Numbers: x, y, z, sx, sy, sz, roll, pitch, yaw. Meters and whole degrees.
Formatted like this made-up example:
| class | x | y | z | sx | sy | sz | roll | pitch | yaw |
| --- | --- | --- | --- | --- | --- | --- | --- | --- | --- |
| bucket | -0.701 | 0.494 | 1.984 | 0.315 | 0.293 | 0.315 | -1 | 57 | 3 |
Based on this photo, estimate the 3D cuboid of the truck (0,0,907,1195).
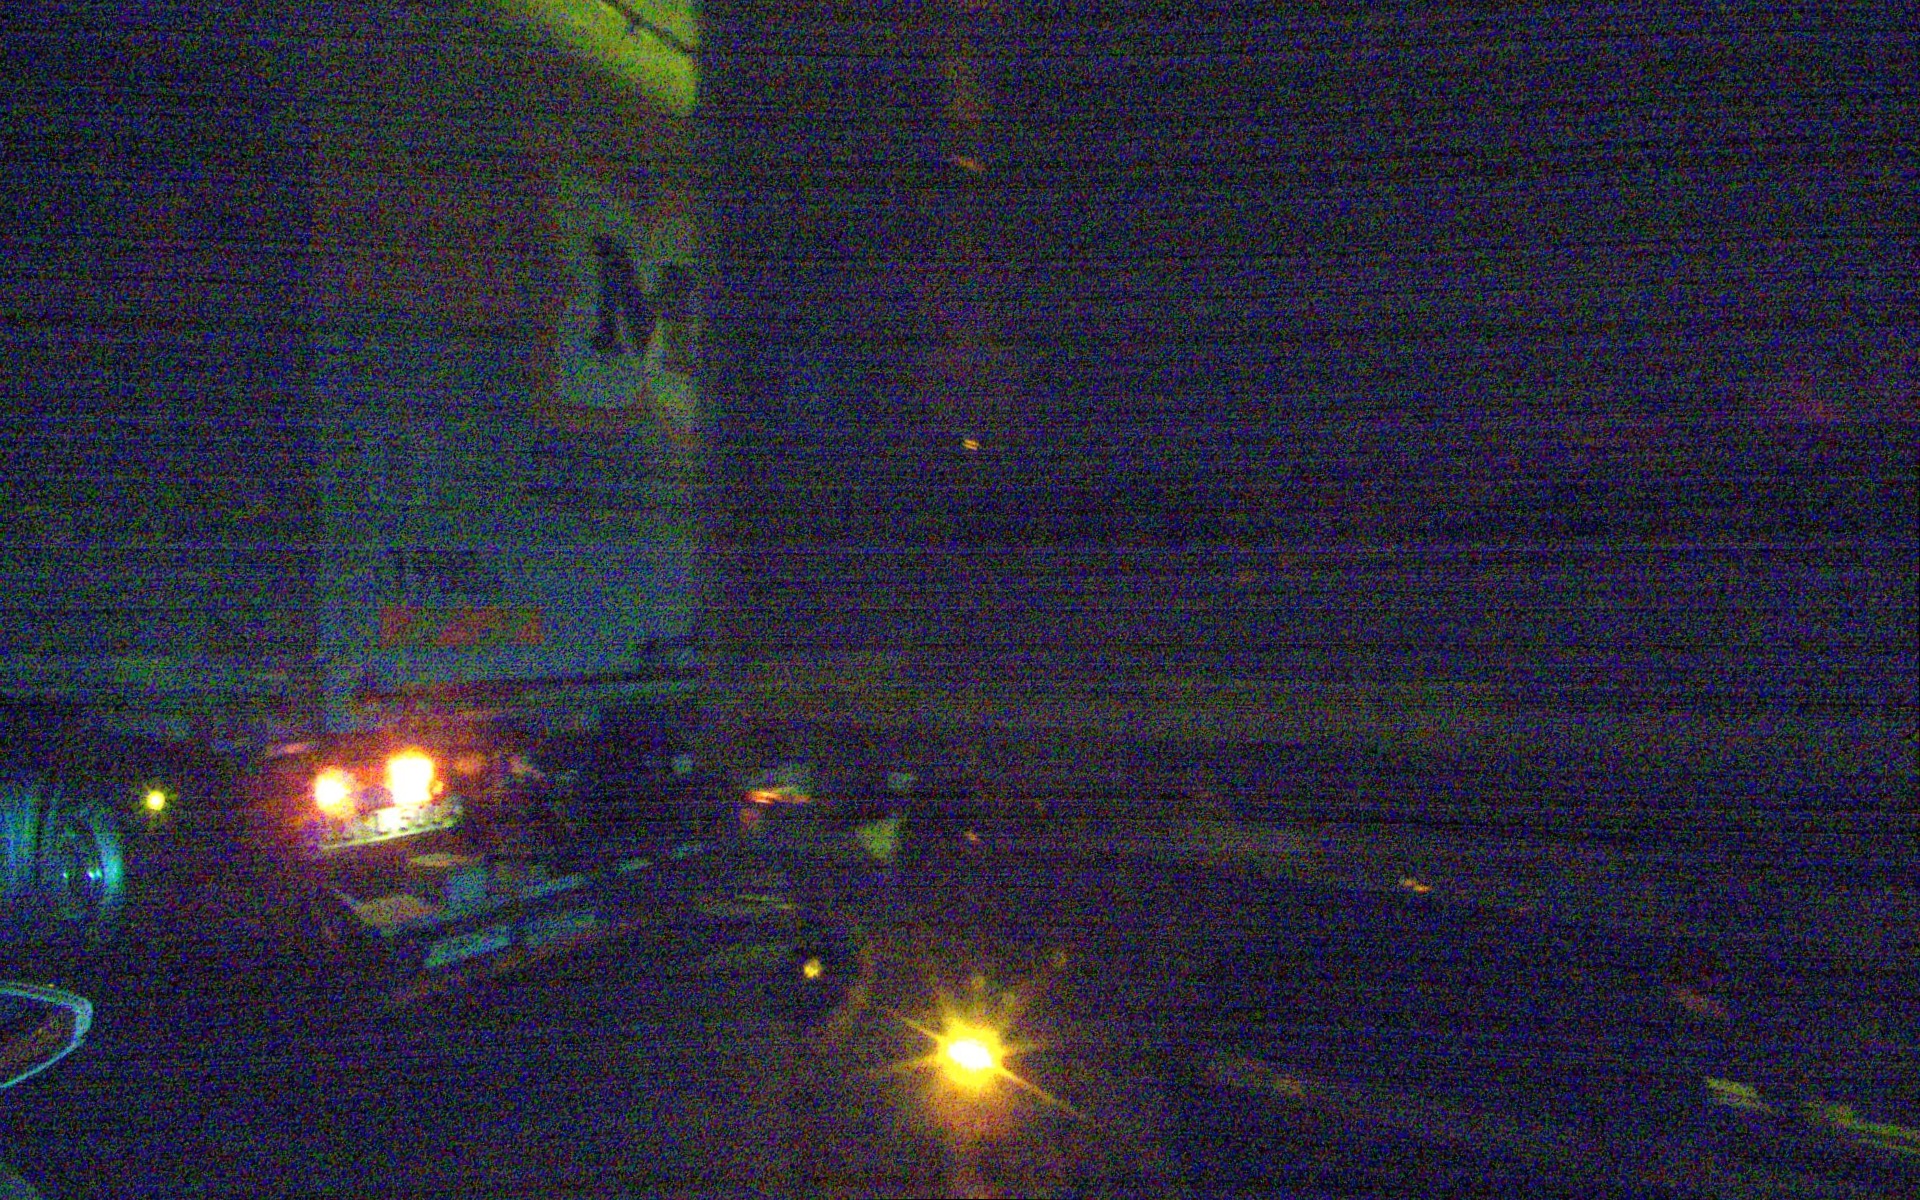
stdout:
| class | x | y | z | sx | sy | sz | roll | pitch | yaw |
| --- | --- | --- | --- | --- | --- | --- | --- | --- | --- |
| truck | -5.161 | -0.384 | 6.433 | 9.767 | 3.966 | 2.882 | -1 | 0 | 32 |

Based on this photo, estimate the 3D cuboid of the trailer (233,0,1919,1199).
| class | x | y | z | sx | sy | sz | roll | pitch | yaw |
| --- | --- | --- | --- | --- | --- | --- | --- | --- | --- |
| trailer | 2.653 | -0.619 | 1.443 | 8.818 | 3.909 | 2.870 | -1 | 0 | 32 |
